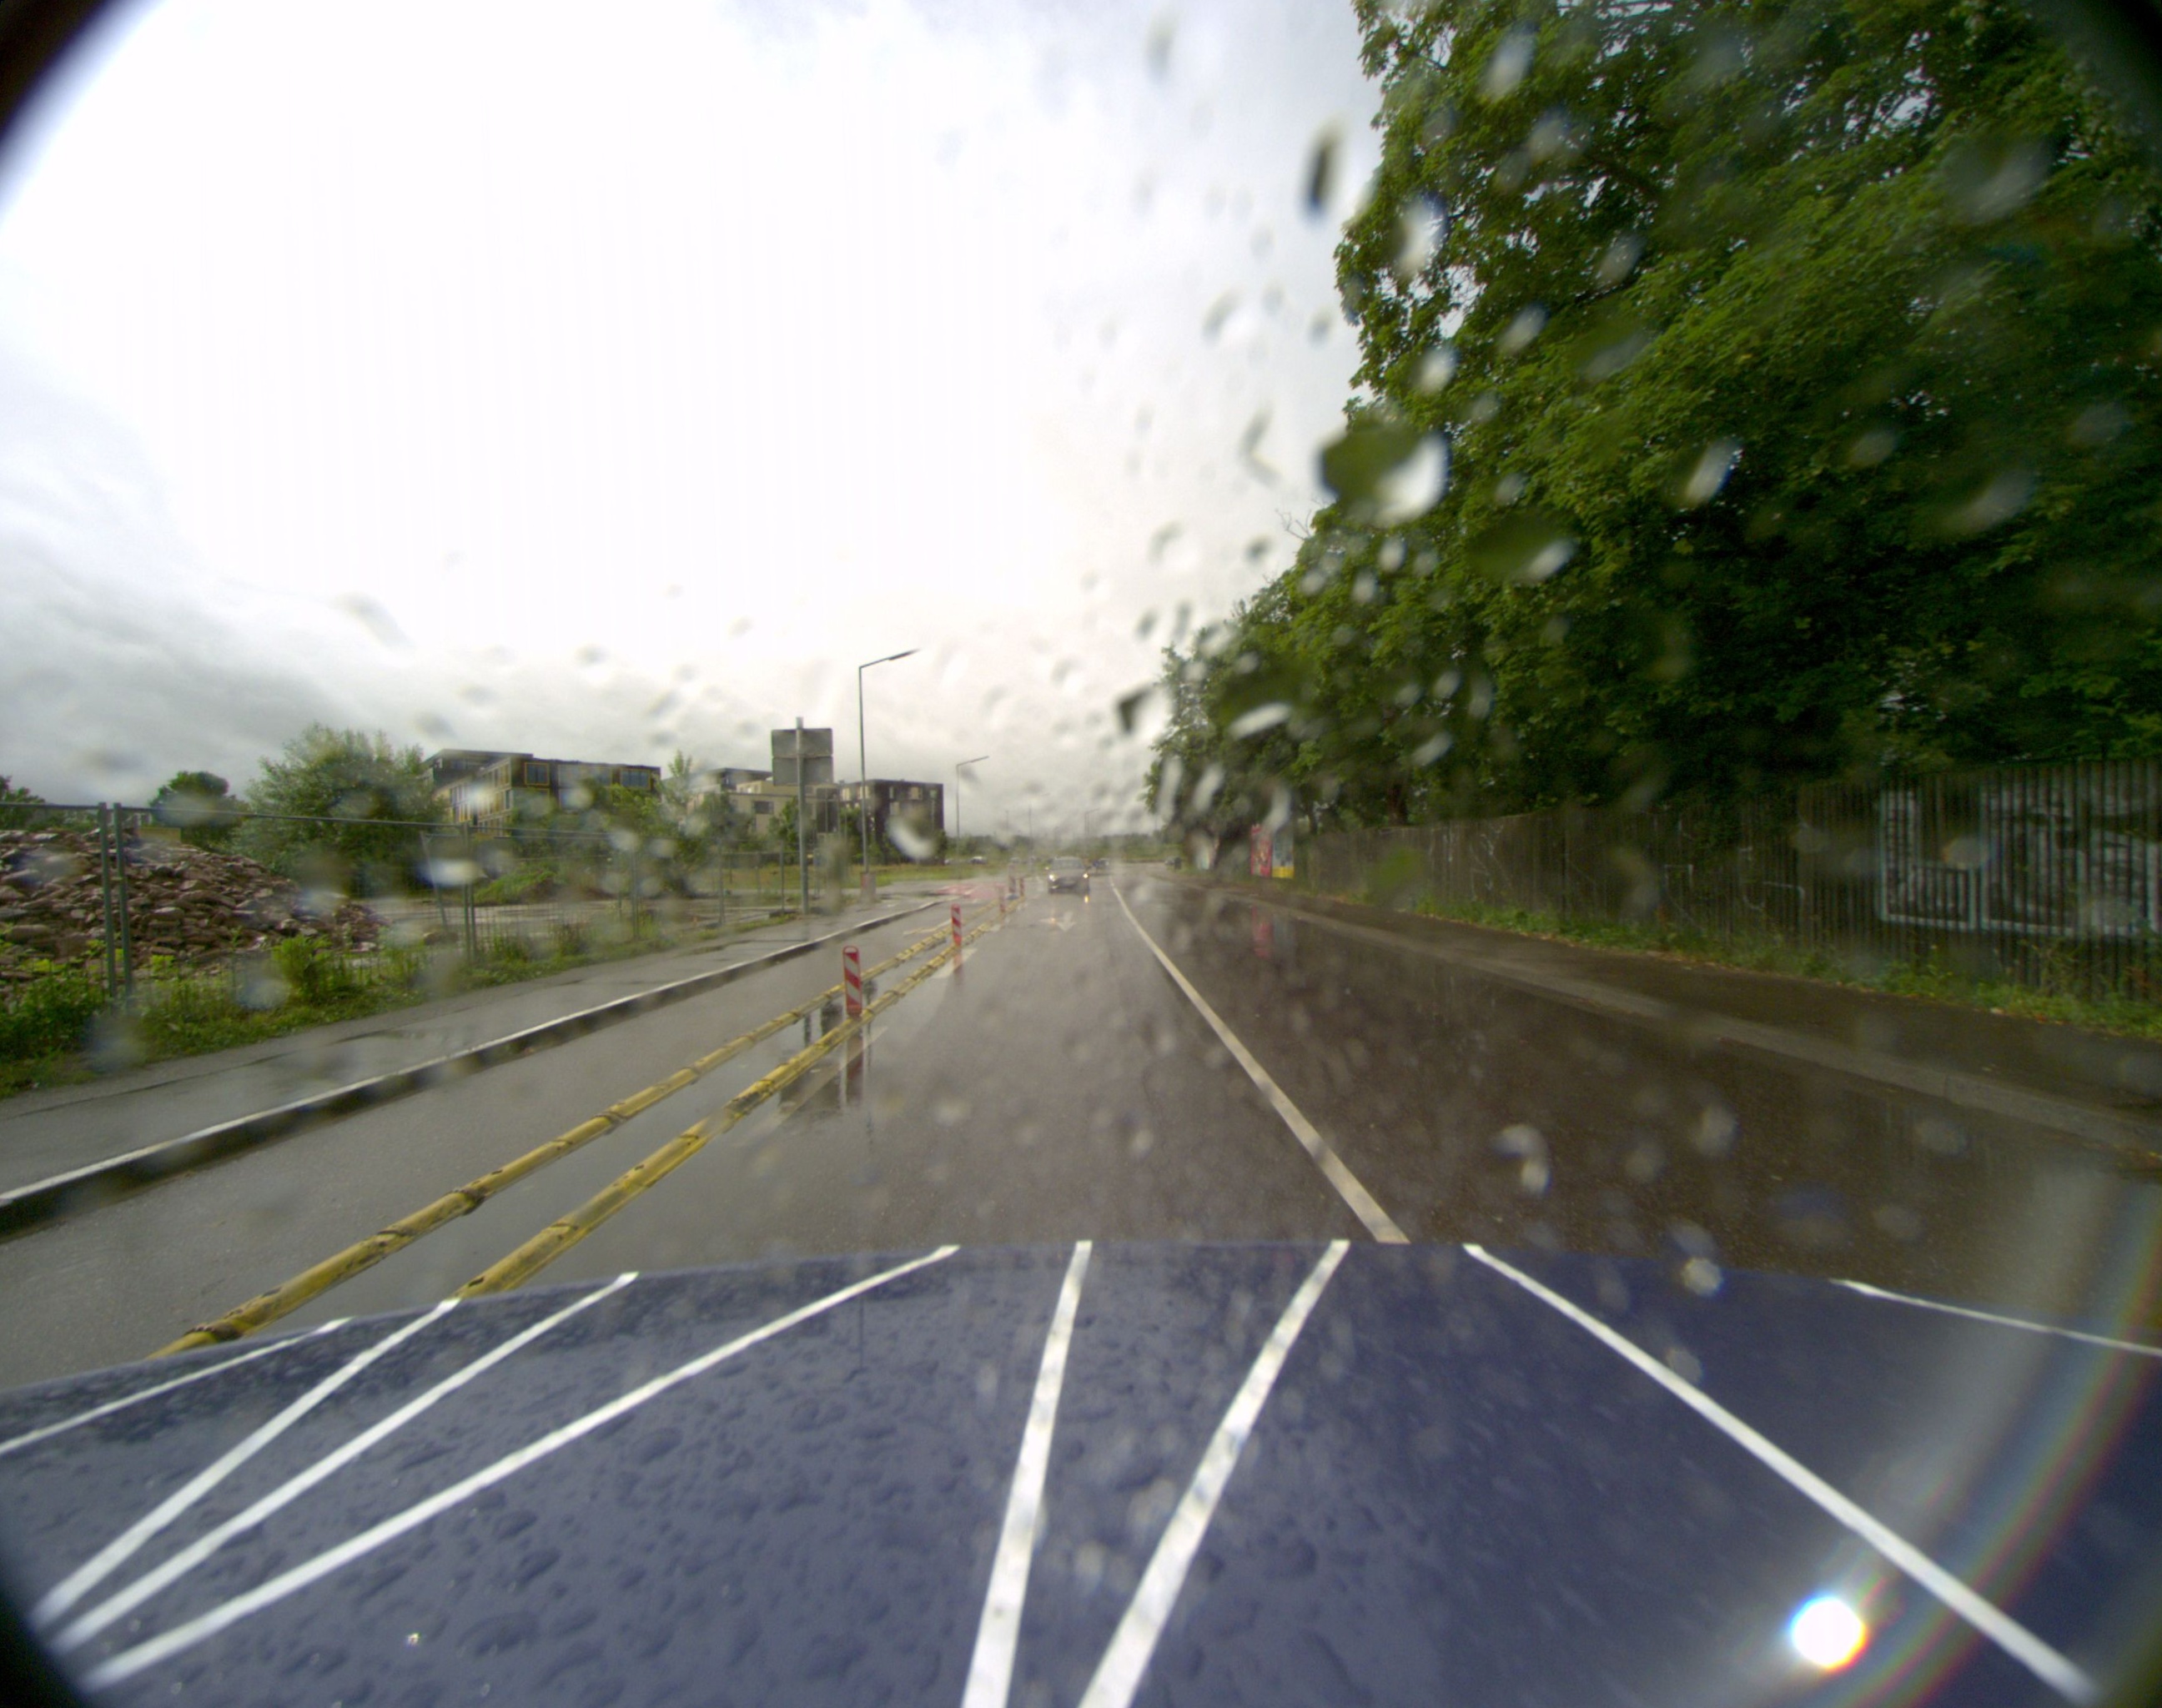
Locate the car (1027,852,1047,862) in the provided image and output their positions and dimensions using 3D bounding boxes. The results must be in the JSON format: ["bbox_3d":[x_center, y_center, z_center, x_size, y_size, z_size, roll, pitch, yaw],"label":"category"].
[{"bbox_3d":[-9.574,0.555,163.475,3.989,2.002,2.004,-2,0,42],"label":"car"}]

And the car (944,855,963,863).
[{"bbox_3d":[-27.674,0.996,165.203,3.657,1.601,1.596,-2,0,-40],"label":"car"}]

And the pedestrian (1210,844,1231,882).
[{"bbox_3d":[6.536,0.433,35.653,0.841,1.759,0.644,-1,1,0],"label":"pedestrian"}]

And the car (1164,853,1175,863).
[{"bbox_3d":[15.718,0.659,134.845,1.796,1.623,3.621,-2,0,11],"label":"car"}]

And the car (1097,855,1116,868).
[{"bbox_3d":[3.354,1.007,99.188,1.795,1.623,3.821,-2,0,11],"label":"car"}]

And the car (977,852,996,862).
[{"bbox_3d":[-21.705,0.655,174.281,4.008,2.002,1.994,-2,0,-44],"label":"car"}]

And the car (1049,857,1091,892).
[{"bbox_3d":[-0.530,0.868,33.598,1.724,1.423,3.817,-2,0,-2],"label":"car"}]

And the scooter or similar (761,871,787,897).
[{"bbox_3d":[-13.804,1.354,34.188,1.191,1.143,0.484,-1,1,34],"label":"scooter or similar"}]

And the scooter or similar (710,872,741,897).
[{"bbox_3d":[-16.469,1.398,35.216,1.191,1.143,0.748,-1,1,33],"label":"scooter or similar"}]
